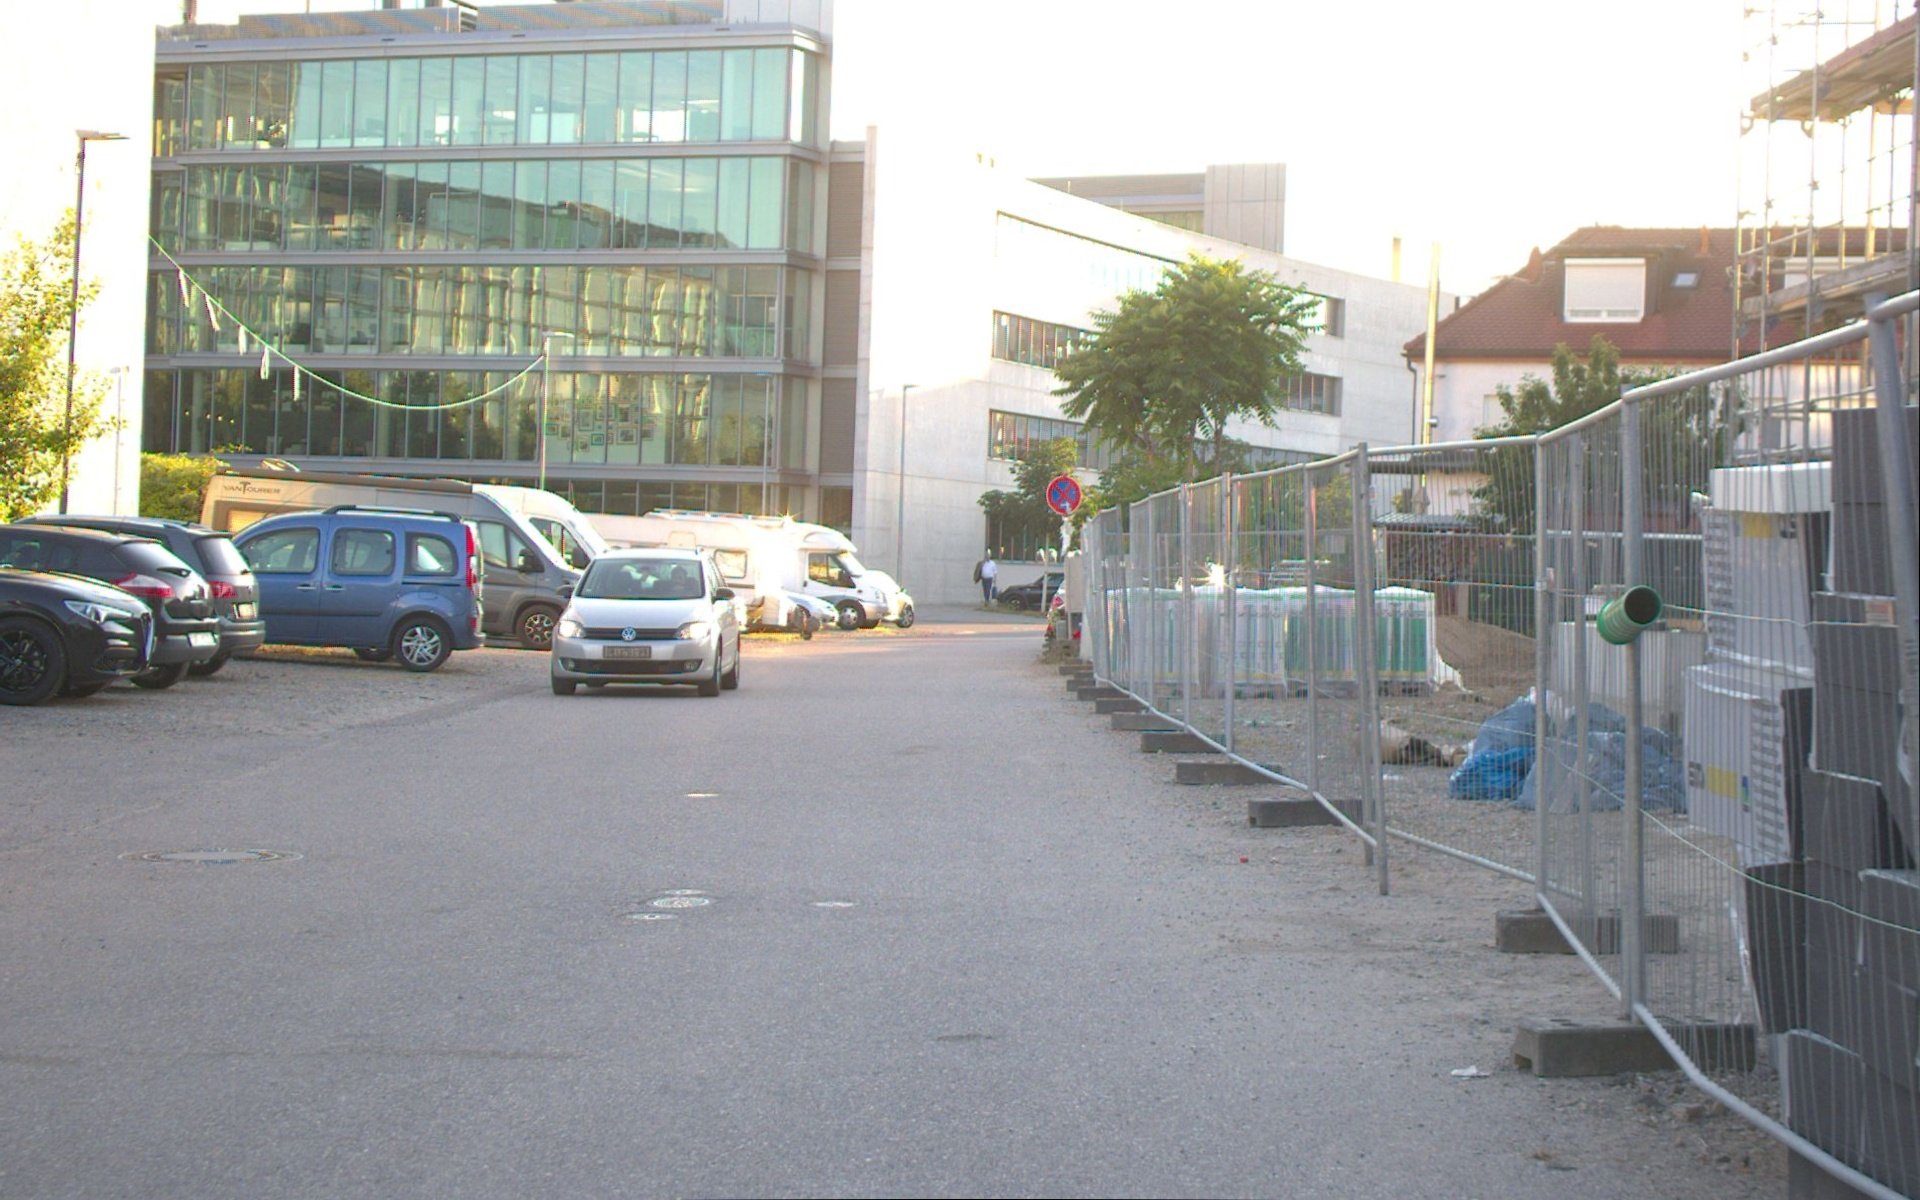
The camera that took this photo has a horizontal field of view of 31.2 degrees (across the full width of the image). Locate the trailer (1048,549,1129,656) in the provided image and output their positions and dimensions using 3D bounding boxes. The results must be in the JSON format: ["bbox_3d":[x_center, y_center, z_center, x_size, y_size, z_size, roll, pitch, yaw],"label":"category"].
[{"bbox_3d":[2.041,0.033,54.944,1.250,1.659,2.803,0,0,1],"label":"trailer"}]

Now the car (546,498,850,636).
[{"bbox_3d":[-5.565,-0.689,73.372,5.891,2.525,2.410,4,-1,12],"label":"car"}]

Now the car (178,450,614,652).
[{"bbox_3d":[-8.810,-0.747,54.139,6.387,2.704,2.113,4,-1,-2],"label":"car"}]

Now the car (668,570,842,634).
[{"bbox_3d":[-4.874,0.033,81.969,3.809,1.324,1.692,3,1,9],"label":"car"}]

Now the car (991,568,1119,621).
[{"bbox_3d":[3.064,-0.192,110.516,3.737,1.477,1.768,3,2,16],"label":"car"}]

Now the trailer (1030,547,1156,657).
[{"bbox_3d":[2.278,0.021,57.824,1.731,1.771,4.936,0,0,7],"label":"trailer"}]

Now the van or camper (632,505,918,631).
[{"bbox_3d":[-4.673,-0.817,87.289,6.744,2.888,2.407,3,0,11],"label":"van or camper"}]

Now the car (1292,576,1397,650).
[{"bbox_3d":[11.299,0.349,100.858,2.067,2.088,4.868,1,1,18],"label":"car"}]

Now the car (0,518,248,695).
[{"bbox_3d":[-8.720,0.023,31.501,3.927,1.511,1.642,2,0,9],"label":"car"}]

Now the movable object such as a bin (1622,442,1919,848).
[{"bbox_3d":[6.280,0.225,23.376,2.065,2.266,8.368,1,1,1],"label":"movable object such as a bin"}]

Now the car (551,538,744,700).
[{"bbox_3d":[-3.357,0.185,37.559,1.670,1.614,4.285,2,0,0],"label":"car"}]

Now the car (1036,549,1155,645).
[{"bbox_3d":[2.575,-0.068,64.278,1.806,1.719,4.927,0,0,7],"label":"car"}]

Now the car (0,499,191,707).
[{"bbox_3d":[-8.727,-0.037,28.796,4.090,1.622,1.821,2,2,3],"label":"car"}]

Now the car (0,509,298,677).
[{"bbox_3d":[-8.921,-0.105,34.978,3.927,1.575,1.642,2,1,9],"label":"car"}]

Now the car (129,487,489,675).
[{"bbox_3d":[-7.540,-0.233,40.130,3.924,1.905,1.749,4,1,-7],"label":"car"}]

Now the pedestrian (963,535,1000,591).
[{"bbox_3d":[0.722,-1.227,114.941,0.899,1.844,0.856,0,1,-37],"label":"pedestrian"}]

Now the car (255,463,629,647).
[{"bbox_3d":[-8.742,-0.769,58.305,5.826,2.703,2.050,4,1,4],"label":"car"}]
